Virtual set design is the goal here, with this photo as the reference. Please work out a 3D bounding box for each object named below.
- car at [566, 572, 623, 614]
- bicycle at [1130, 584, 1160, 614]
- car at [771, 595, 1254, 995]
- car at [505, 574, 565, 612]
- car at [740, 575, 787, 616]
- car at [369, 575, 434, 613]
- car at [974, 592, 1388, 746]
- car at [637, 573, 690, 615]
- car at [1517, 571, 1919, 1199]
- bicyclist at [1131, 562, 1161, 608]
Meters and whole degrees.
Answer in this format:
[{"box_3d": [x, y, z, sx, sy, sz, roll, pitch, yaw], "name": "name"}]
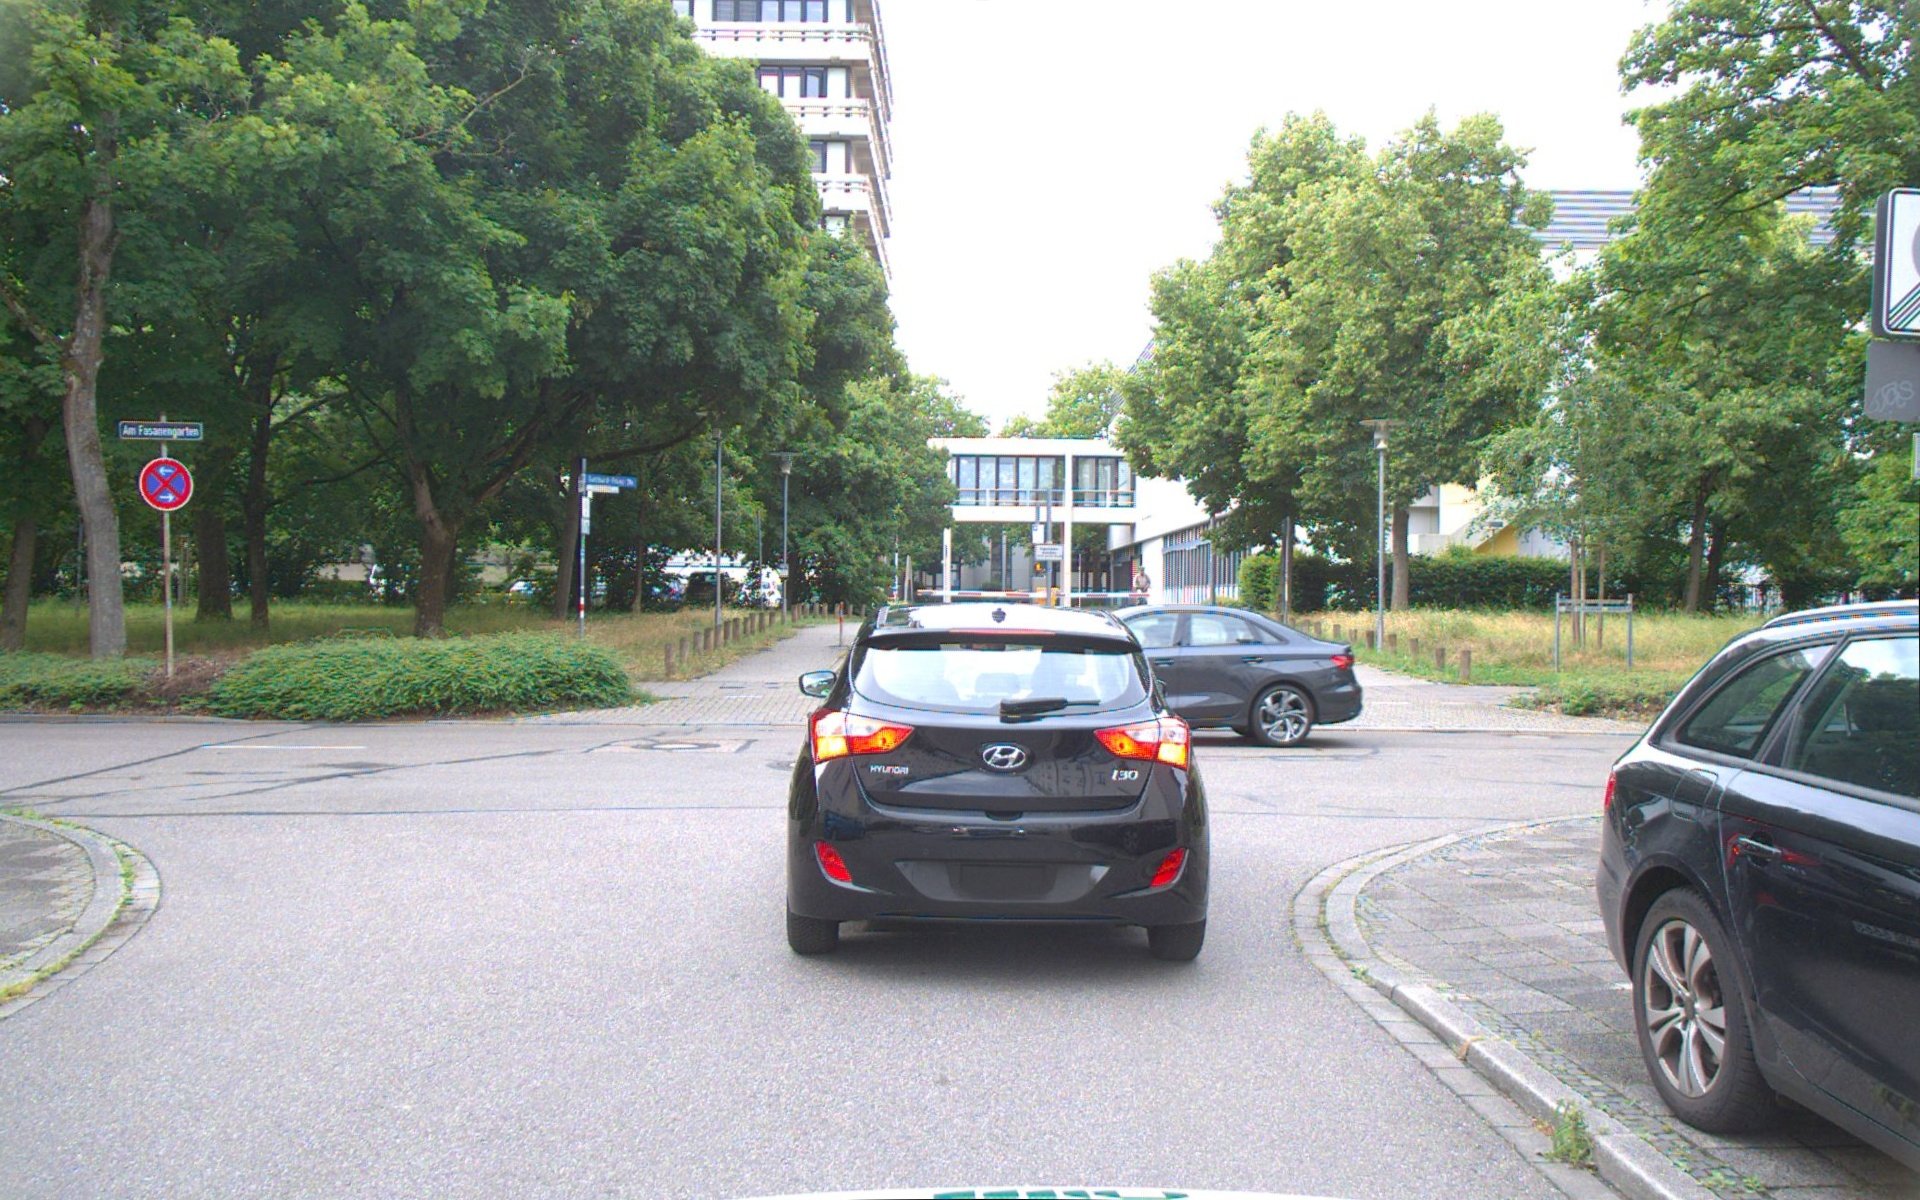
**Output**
[{"box_3d": [-16.395, -0.282, 74.271, 1.954, 1.758, 3.995, 0, -1, -5], "name": "car"}, {"box_3d": [6.740, -0.047, 60.331, 0.849, 1.093, 2.142, 0, 1, 0], "name": "bicycle"}, {"box_3d": [0.103, 0.738, 8.131, 1.809, 1.488, 3.825, 1, 0, -3], "name": "car"}, {"box_3d": [-19.061, -0.311, 74.289, 1.954, 1.646, 3.996, 0, 0, -5], "name": "car"}, {"box_3d": [-8.856, -0.190, 74.807, 1.954, 1.793, 3.996, 0, -1, -5], "name": "car"}, {"box_3d": [-25.136, -0.281, 74.536, 1.880, 1.646, 3.996, 0, 0, -5], "name": "car"}, {"box_3d": [2.202, 0.676, 17.257, 4.021, 1.488, 1.869, 0, 1, -3], "name": "car"}, {"box_3d": [-13.357, -0.245, 74.659, 1.954, 1.825, 3.995, 0, -1, -5], "name": "car"}, {"box_3d": [2.893, 0.676, 3.211, 1.823, 1.488, 4.723, -1, 0, -3], "name": "car"}, {"box_3d": [6.764, -0.540, 60.210, 0.996, 1.673, 0.923, 0, 1, 0], "name": "bicyclist"}]
